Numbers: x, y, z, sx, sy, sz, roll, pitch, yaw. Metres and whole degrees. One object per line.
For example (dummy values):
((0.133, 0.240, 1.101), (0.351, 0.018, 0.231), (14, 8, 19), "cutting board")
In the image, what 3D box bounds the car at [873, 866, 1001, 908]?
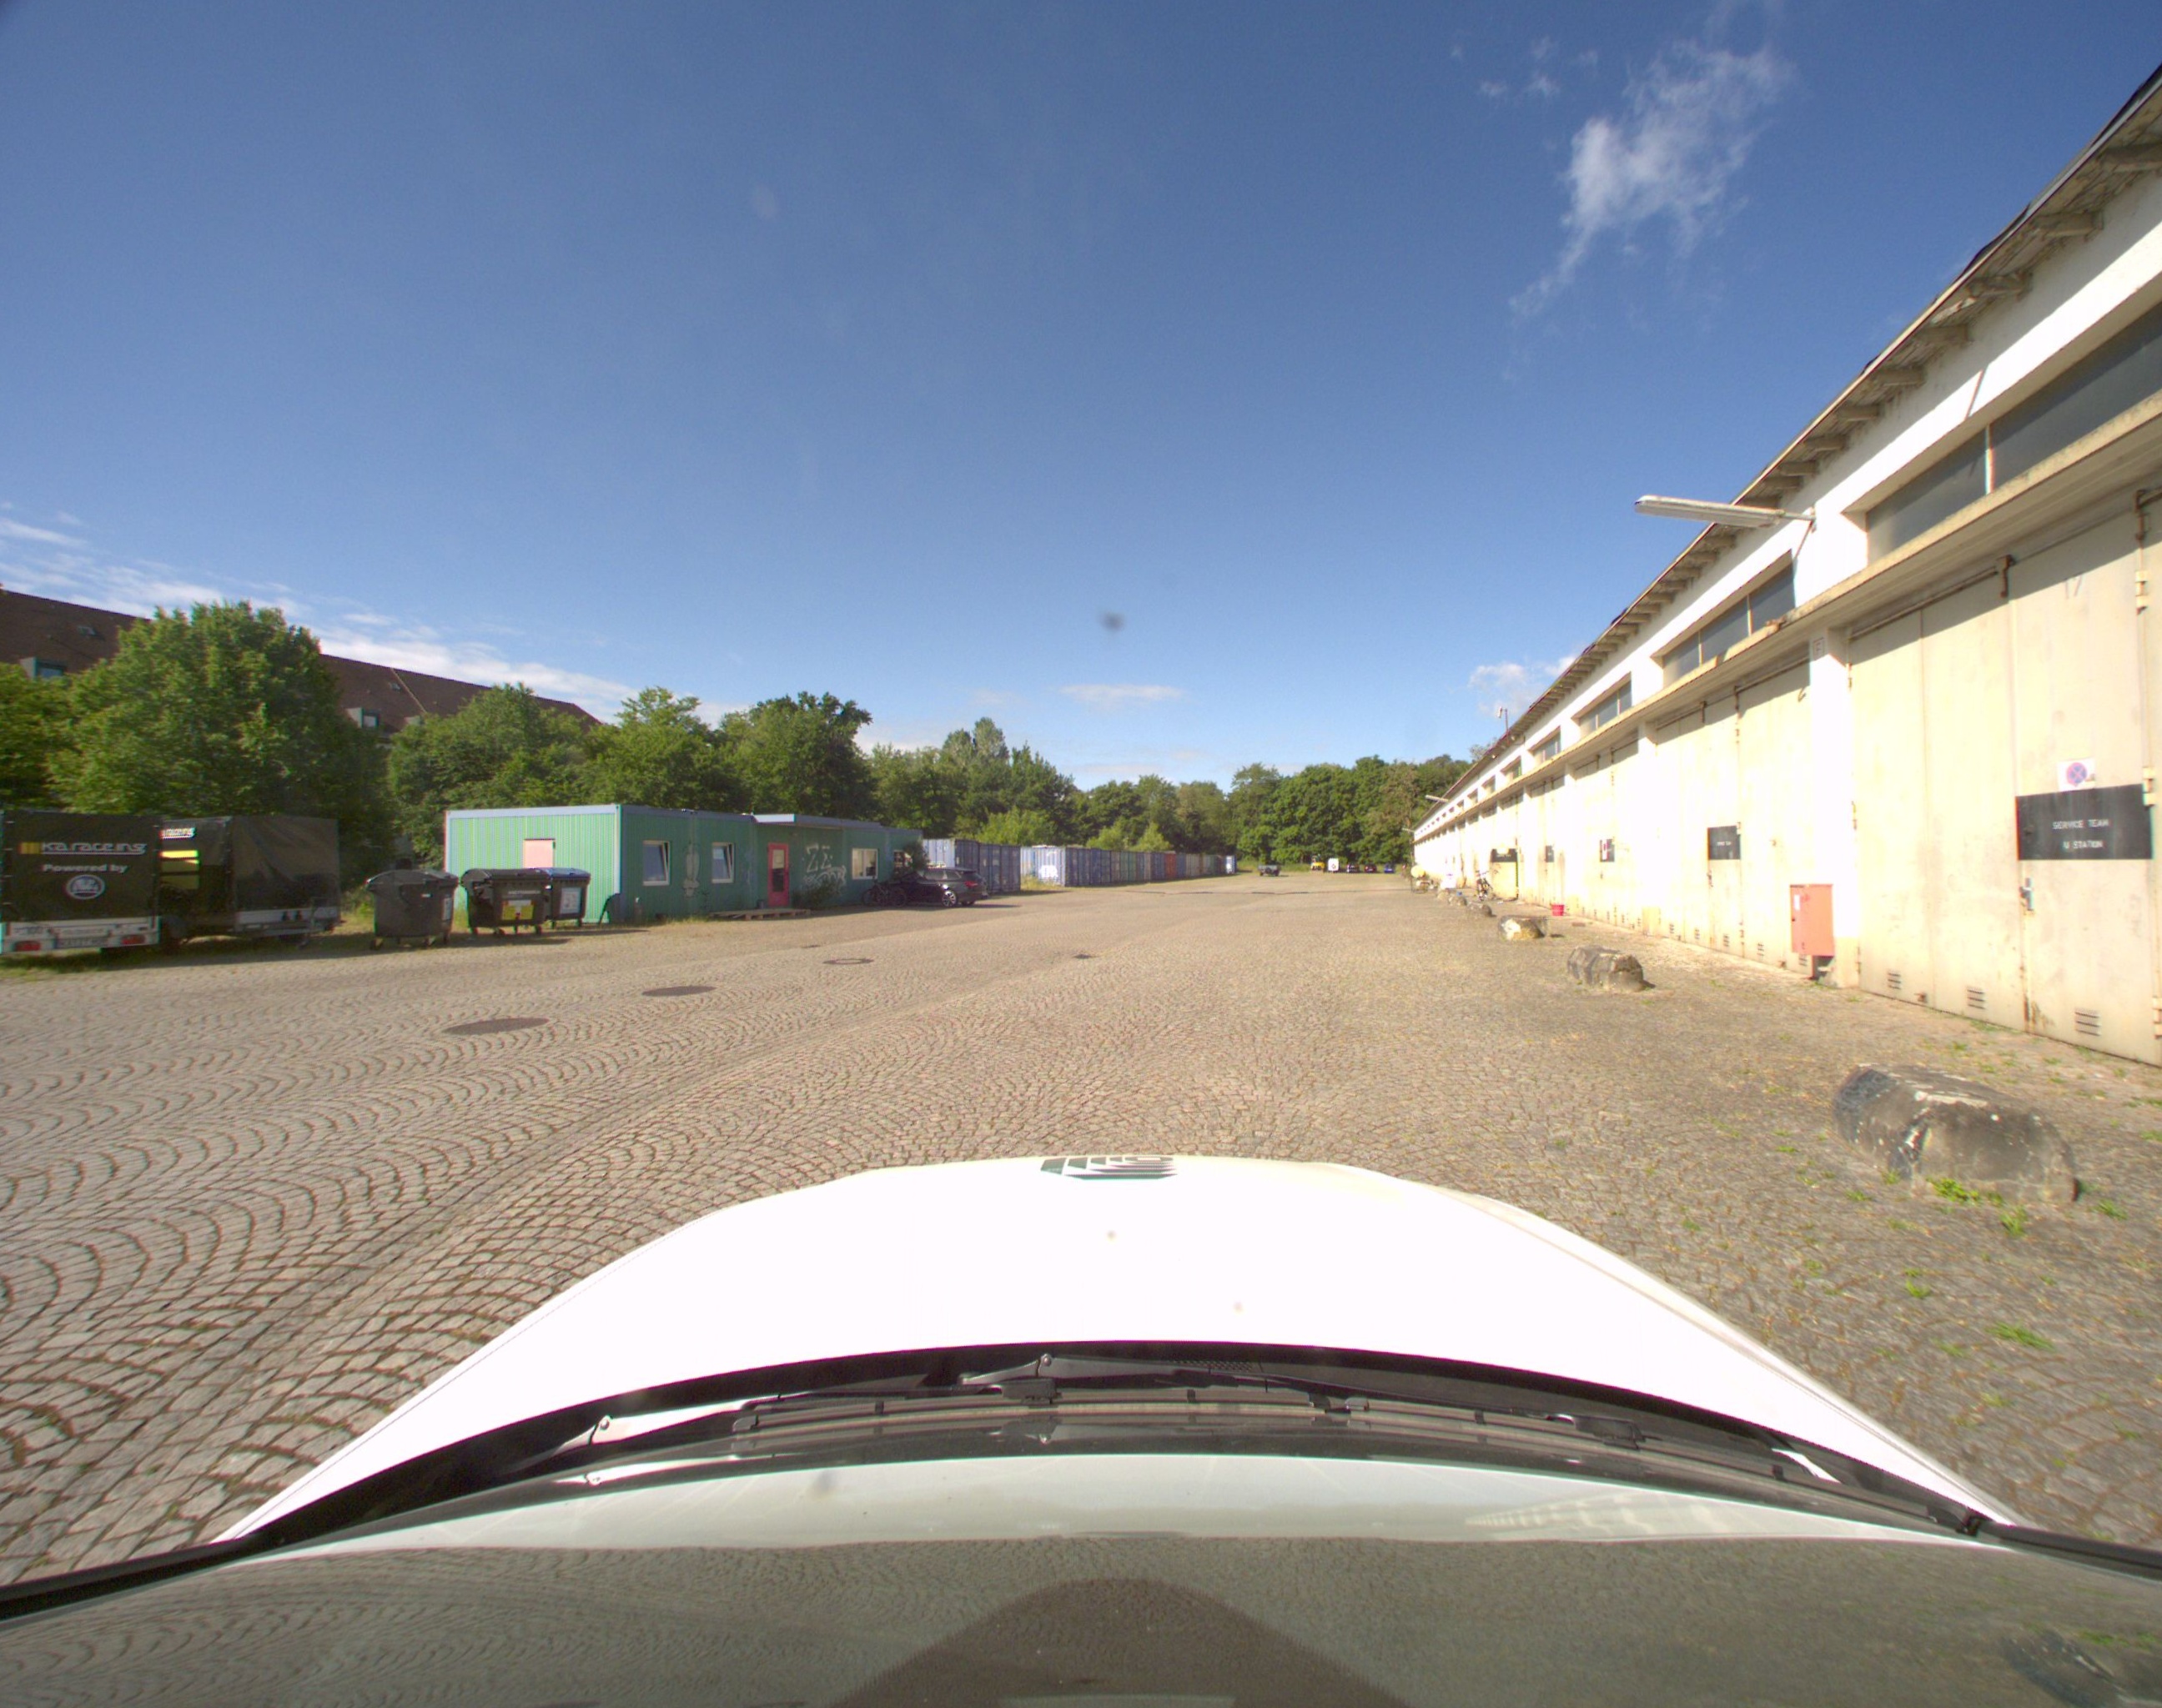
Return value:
((-5.318, 1.192, 30.172), (4.218, 1.449, 1.940), (0, -1, 18), "car")

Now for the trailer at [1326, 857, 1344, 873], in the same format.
((37.912, 1.633, 121.477), (2.175, 2.094, 5.780), (1, 1, 20), "trailer")

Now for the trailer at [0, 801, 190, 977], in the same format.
((-16.380, 0.499, 12.777), (3.356, 2.470, 2.054), (0, -1, 20), "trailer")

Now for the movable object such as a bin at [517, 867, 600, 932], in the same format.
((-12.294, 1.042, 19.207), (0.877, 1.458, 1.444), (0, -1, 9), "movable object such as a bin")

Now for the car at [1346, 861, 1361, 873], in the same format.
((39.619, 1.924, 118.318), (1.848, 1.589, 4.317), (1, 1, 20), "car")

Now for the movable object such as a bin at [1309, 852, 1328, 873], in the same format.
((35.893, 1.262, 122.842), (2.287, 2.896, 5.781), (1, 1, 21), "movable object such as a bin")

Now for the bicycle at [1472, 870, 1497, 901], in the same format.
((14.647, 1.125, 29.546), (0.658, 1.068, 1.835), (0, -1, 32), "bicycle")

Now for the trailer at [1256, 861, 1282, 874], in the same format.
((24.264, 1.679, 104.922), (2.683, 1.465, 6.277), (1, 0, 19), "trailer")

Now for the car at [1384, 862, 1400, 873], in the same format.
((44.632, 1.907, 116.839), (1.728, 1.436, 4.207), (1, 1, 25), "car")

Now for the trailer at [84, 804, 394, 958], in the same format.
((-15.525, 0.457, 15.088), (4.601, 2.568, 1.959), (0, -1, 15), "trailer")

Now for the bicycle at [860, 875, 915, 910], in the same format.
((-6.841, 1.341, 28.763), (1.789, 1.170, 0.671), (0, -1, 17), "bicycle")

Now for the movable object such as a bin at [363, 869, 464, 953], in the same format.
((-12.413, 1.026, 15.212), (1.158, 1.458, 1.426), (1, -1, -27), "movable object such as a bin")

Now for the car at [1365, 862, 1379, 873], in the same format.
((42.070, 1.930, 117.827), (1.848, 1.470, 4.317), (1, 1, 20), "car")

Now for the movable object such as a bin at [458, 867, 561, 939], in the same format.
((-12.160, 1.013, 17.373), (1.009, 1.458, 1.447), (0, -1, 19), "movable object such as a bin")

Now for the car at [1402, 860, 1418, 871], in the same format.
((47.408, 1.693, 117.343), (1.728, 1.436, 4.208), (1, 1, 27), "car")
